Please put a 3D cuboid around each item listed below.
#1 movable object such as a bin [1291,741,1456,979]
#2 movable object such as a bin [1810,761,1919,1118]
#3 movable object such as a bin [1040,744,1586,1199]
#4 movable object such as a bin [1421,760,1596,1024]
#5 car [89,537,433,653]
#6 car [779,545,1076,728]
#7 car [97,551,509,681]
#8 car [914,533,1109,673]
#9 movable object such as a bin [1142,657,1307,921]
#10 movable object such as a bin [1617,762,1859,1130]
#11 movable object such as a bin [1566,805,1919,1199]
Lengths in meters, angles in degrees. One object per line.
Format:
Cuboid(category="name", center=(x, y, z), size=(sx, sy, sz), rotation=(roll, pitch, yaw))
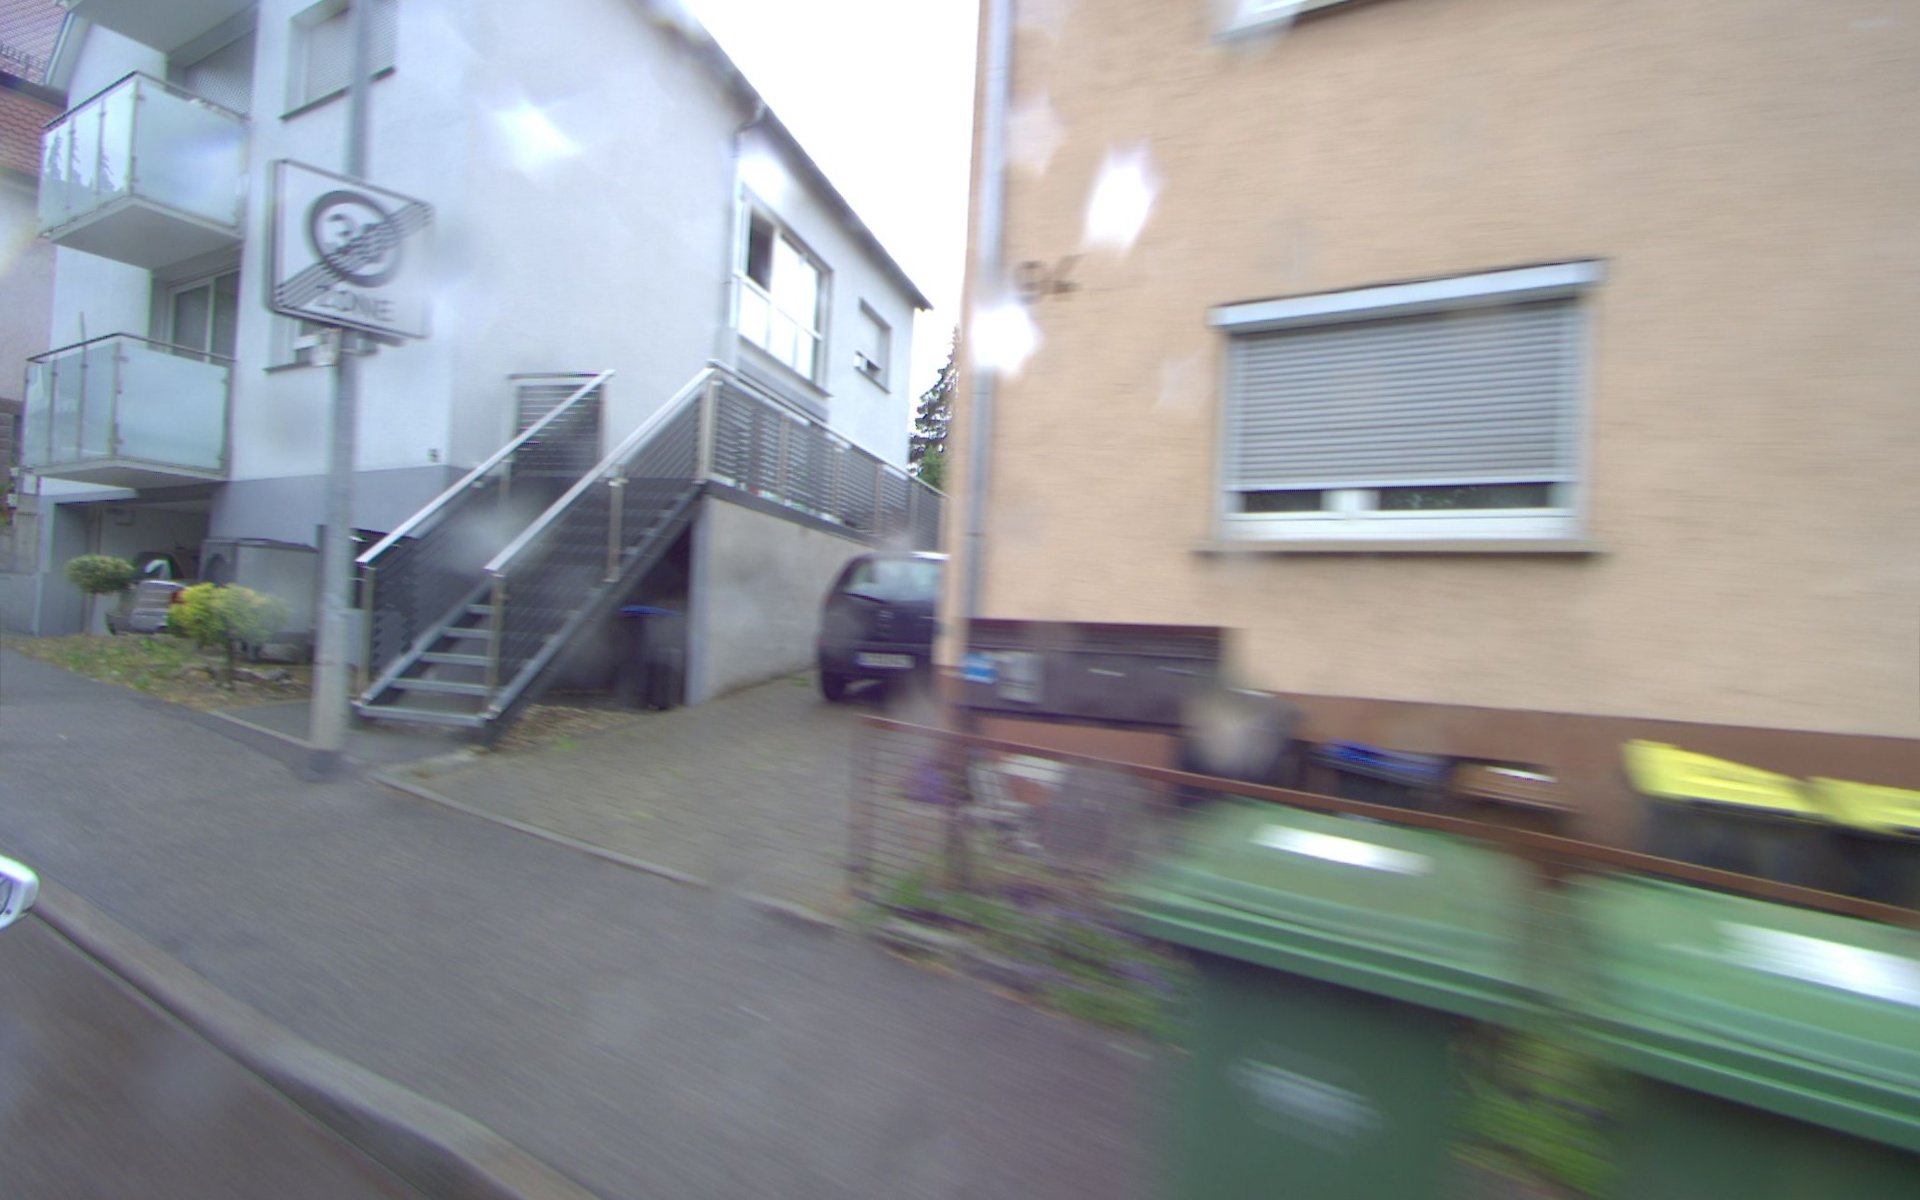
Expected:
Cuboid(category="movable object such as a bin", center=(1.934, 1.161, 4.678), size=(0.527, 0.906, 0.638), rotation=(7, 0, 31))
Cuboid(category="movable object such as a bin", center=(3.534, 1.210, 3.595), size=(0.536, 1.108, 0.644), rotation=(7, 4, 30))
Cuboid(category="movable object such as a bin", center=(0.688, 0.897, 1.877), size=(0.691, 1.116, 0.914), rotation=(6, -1, 34))
Cuboid(category="movable object such as a bin", center=(2.371, 1.207, 4.347), size=(0.527, 0.906, 0.670), rotation=(7, 0, 31))
Cuboid(category="car", center=(-10.608, -0.001, 15.593), size=(1.653, 1.320, 3.980), rotation=(6, -1, 30))
Cuboid(category="car", center=(-0.128, 0.206, 10.752), size=(1.750, 1.470, 3.990), rotation=(5, 4, 20))
Cuboid(category="car", center=(-8.899, 0.320, 14.094), size=(1.727, 1.460, 4.476), rotation=(2, -3, 31))
Cuboid(category="car", center=(0.917, 0.027, 15.048), size=(1.690, 1.602, 3.981), rotation=(9, 3, 19))
Cuboid(category="movable object such as a bin", center=(1.309, 0.876, 4.939), size=(0.536, 1.108, 0.660), rotation=(7, 4, 30))
Cuboid(category="movable object such as a bin", center=(2.935, 1.260, 3.865), size=(0.536, 1.108, 0.660), rotation=(7, 4, 30))
Cuboid(category="movable object such as a bin", center=(1.299, 0.962, 1.473), size=(0.691, 1.116, 0.914), rotation=(6, -1, 34))
